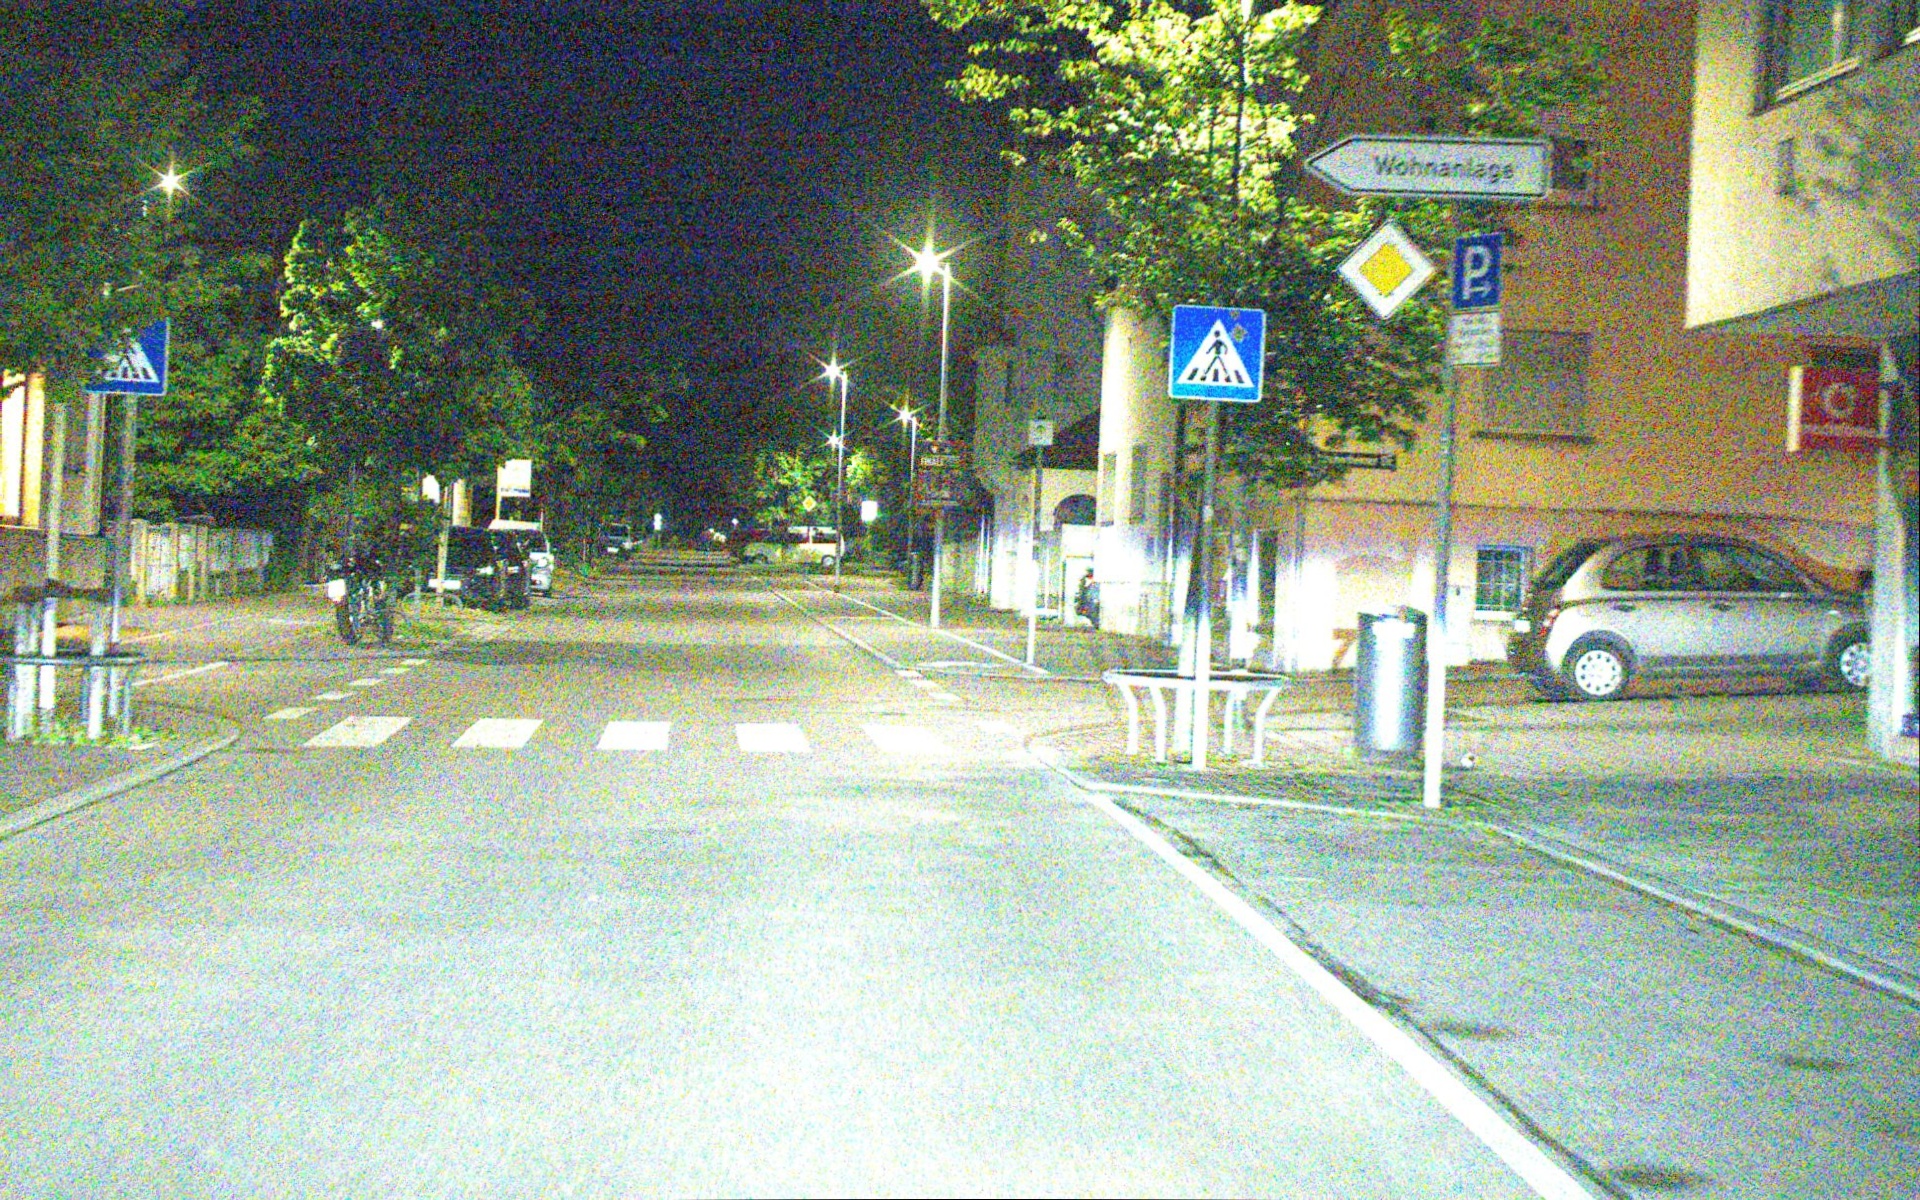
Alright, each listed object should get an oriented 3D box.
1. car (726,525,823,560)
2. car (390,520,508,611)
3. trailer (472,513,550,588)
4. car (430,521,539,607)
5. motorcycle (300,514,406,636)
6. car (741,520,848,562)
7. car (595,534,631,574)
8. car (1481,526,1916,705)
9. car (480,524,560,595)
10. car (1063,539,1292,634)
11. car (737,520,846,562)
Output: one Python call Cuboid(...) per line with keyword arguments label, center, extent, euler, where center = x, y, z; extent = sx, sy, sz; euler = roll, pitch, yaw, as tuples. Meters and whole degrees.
Cuboid(label="car", center=(-10.348, -3.214, 191.930), extent=(5.183, 1.880, 2.101), euler=(1, 1, 5))
Cuboid(label="car", center=(-9.089, -0.640, 61.396), extent=(1.688, 1.505, 4.279), euler=(2, 1, -4))
Cuboid(label="trailer", center=(-10.932, -1.216, 83.817), extent=(1.448, 1.682, 3.426), euler=(5, 1, -2))
Cuboid(label="car", center=(-9.189, -0.723, 66.649), extent=(1.766, 1.514, 4.279), euler=(3, 1, -5))
Cuboid(label="motorcycle", center=(-7.488, -0.312, 42.520), extent=(0.746, 1.447, 2.195), euler=(2, 1, 4))
Cuboid(label="car", center=(-8.207, -2.917, 170.320), extent=(5.181, 2.007, 2.102), euler=(1, 1, -6))
Cuboid(label="car", center=(-19.237, -2.551, 190.319), extent=(1.824, 1.980, 4.466), euler=(4, -1, -6))
Cuboid(label="car", center=(6.746, 0.122, 31.634), extent=(3.505, 1.519, 1.821), euler=(-1, 1, -5))
Cuboid(label="car", center=(-10.307, -0.962, 80.626), extent=(1.671, 1.517, 2.979), euler=(4, 1, -6))
Cuboid(label="car", center=(3.700, -0.234, 58.953), extent=(3.711, 1.468, 1.730), euler=(2, 0, -1))
Cuboid(label="car", center=(-8.228, -2.871, 167.246), extent=(5.181, 2.007, 2.102), euler=(1, 1, -6))
